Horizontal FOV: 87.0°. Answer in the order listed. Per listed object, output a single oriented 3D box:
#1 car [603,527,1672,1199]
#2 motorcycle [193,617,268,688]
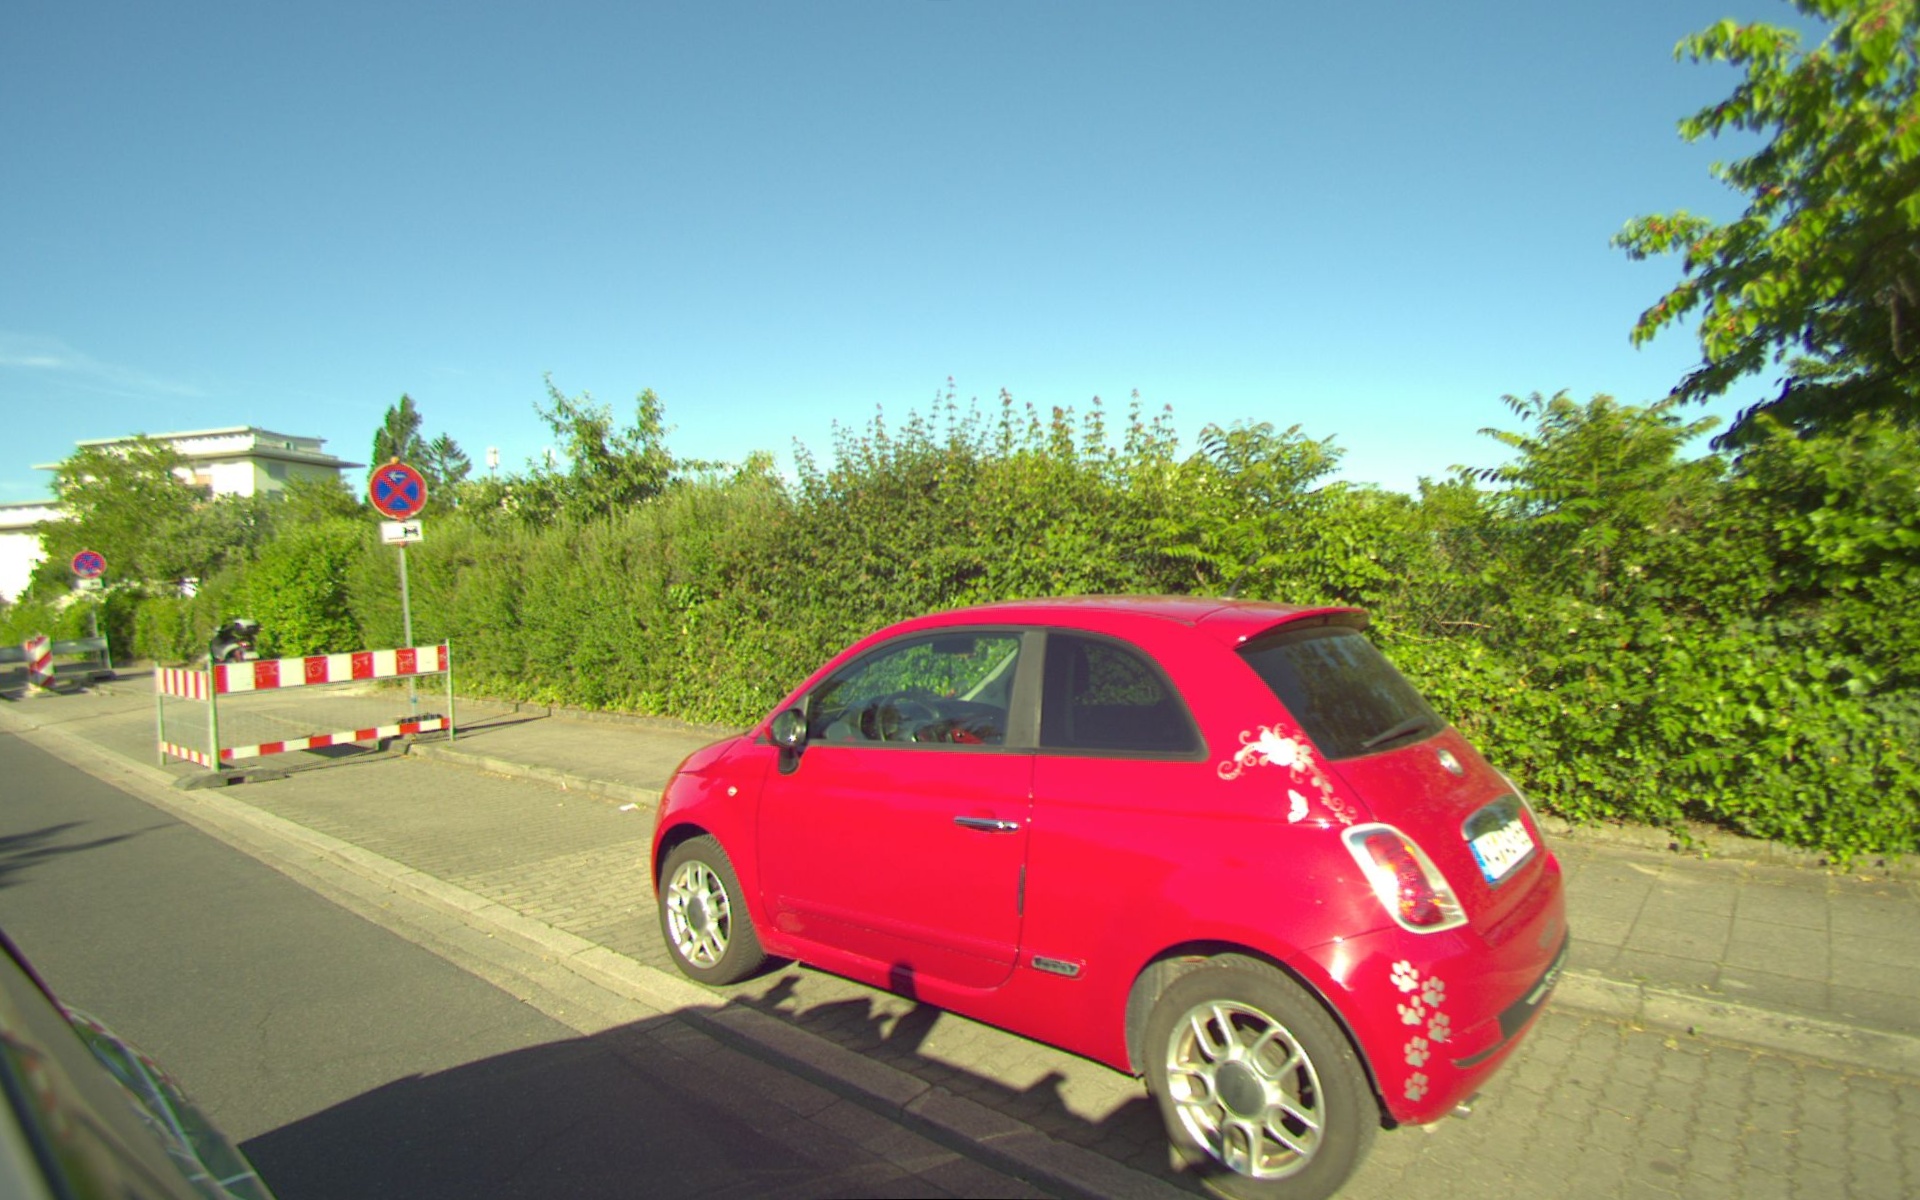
[{"bbox_3d":[0.331,0.640,3.707,3.569,1.506,1.543,-1,-1,41],"label":"car"},{"bbox_3d":[-14.073,0.985,19.508,2.088,1.277,0.561,-1,1,38],"label":"motorcycle"}]
